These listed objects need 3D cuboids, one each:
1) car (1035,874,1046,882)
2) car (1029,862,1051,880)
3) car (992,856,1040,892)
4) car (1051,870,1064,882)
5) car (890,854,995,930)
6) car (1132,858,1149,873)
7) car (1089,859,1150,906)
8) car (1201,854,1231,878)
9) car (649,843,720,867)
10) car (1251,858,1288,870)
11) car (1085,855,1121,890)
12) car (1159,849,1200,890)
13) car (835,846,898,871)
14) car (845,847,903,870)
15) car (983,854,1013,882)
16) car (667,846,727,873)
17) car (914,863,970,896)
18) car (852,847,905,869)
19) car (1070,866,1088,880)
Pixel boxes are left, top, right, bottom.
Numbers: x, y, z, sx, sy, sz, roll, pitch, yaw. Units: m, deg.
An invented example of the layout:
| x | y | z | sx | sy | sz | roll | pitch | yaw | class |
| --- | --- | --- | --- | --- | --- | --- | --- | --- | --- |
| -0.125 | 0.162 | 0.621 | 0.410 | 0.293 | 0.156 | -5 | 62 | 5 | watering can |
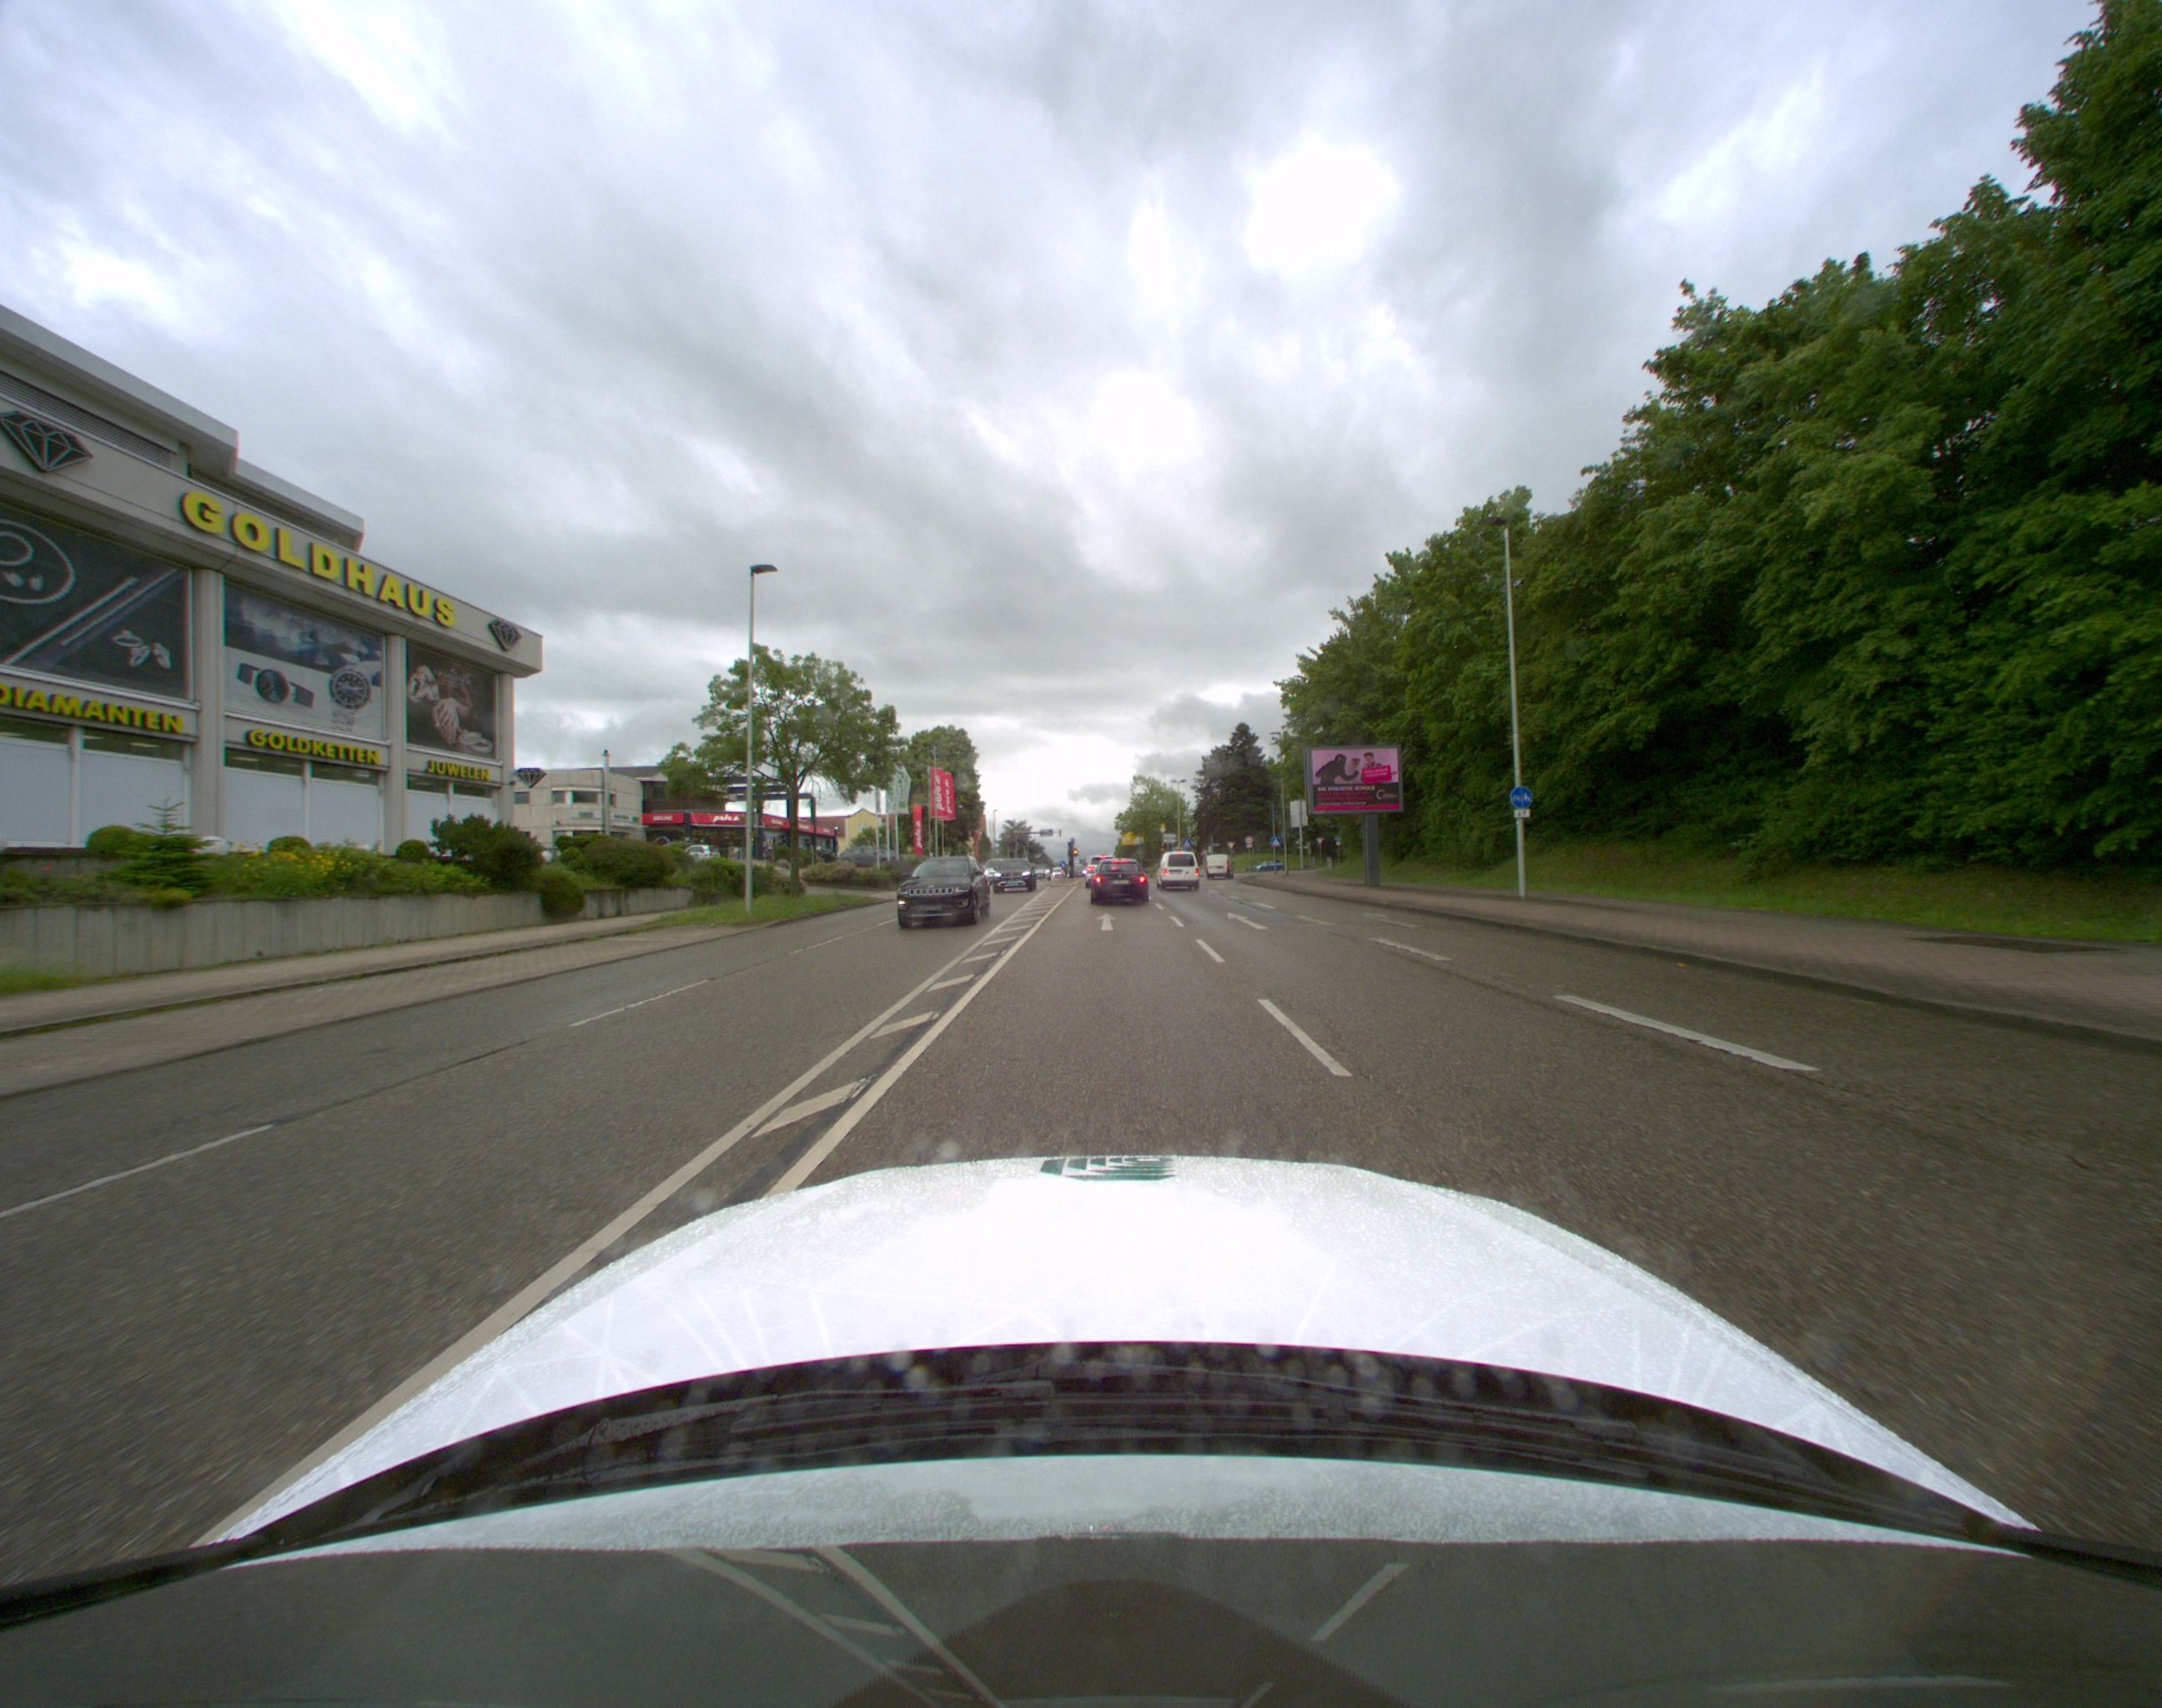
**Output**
| x | y | z | sx | sy | sz | roll | pitch | yaw | class |
| --- | --- | --- | --- | --- | --- | --- | --- | --- | --- |
| -7.450 | 4.340 | 148.599 | 1.662 | 1.382 | 4.072 | -2 | -1 | 1 | car |
| -3.420 | 1.395 | 69.112 | 1.662 | 1.398 | 3.998 | -3 | -1 | -1 | car |
| -3.137 | 0.956 | 40.025 | 1.816 | 1.607 | 4.284 | -3 | -1 | 1 | car |
| -3.687 | 3.501 | 129.075 | 1.852 | 1.823 | 4.578 | -3 | -1 | 0 | car |
| -3.298 | 0.850 | 20.182 | 1.789 | 1.584 | 4.198 | -3 | 0 | 0 | car |
| 5.927 | 1.113 | 81.076 | 1.594 | 1.372 | 3.683 | -2 | 0 | 3 | car |
| 1.303 | 0.877 | 26.852 | 1.847 | 1.419 | 3.961 | 0 | 0 | 4 | car |
| 10.323 | 0.854 | 62.297 | 1.806 | 1.708 | 3.949 | -2 | 0 | 3 | car |
| -26.526 | 0.076 | 54.611 | 3.819 | 1.482 | 1.872 | -2 | -1 | -4 | car |
| 22.547 | 1.200 | 97.281 | 3.997 | 1.294 | 1.599 | -3 | 0 | -17 | car |
| 1.194 | 0.933 | 42.872 | 1.720 | 1.711 | 3.387 | 0 | 0 | 5 | car |
| 4.644 | 0.735 | 38.869 | 1.734 | 1.869 | 3.949 | 0 | -1 | 3 | car |
| -14.309 | 0.300 | 54.474 | 3.821 | 1.482 | 1.738 | -2 | -1 | -6 | car |
| -14.481 | 0.309 | 57.114 | 3.642 | 1.482 | 1.738 | -2 | -1 | -6 | car |
| -6.380 | 1.093 | 63.051 | 1.791 | 1.983 | 4.896 | -3 | -1 | -1 | car |
| -23.789 | 0.370 | 50.653 | 1.668 | 1.512 | 4.004 | -3 | -1 | 2 | car |
| -6.779 | 1.216 | 40.109 | 1.786 | 1.401 | 4.302 | -3 | 0 | 2 | car |
| -14.744 | 0.318 | 59.415 | 3.404 | 1.509 | 1.582 | -2 | -1 | 0 | car |
| -0.272 | 2.122 | 91.349 | 1.890 | 1.456 | 4.093 | -2 | -1 | -2 | car |
